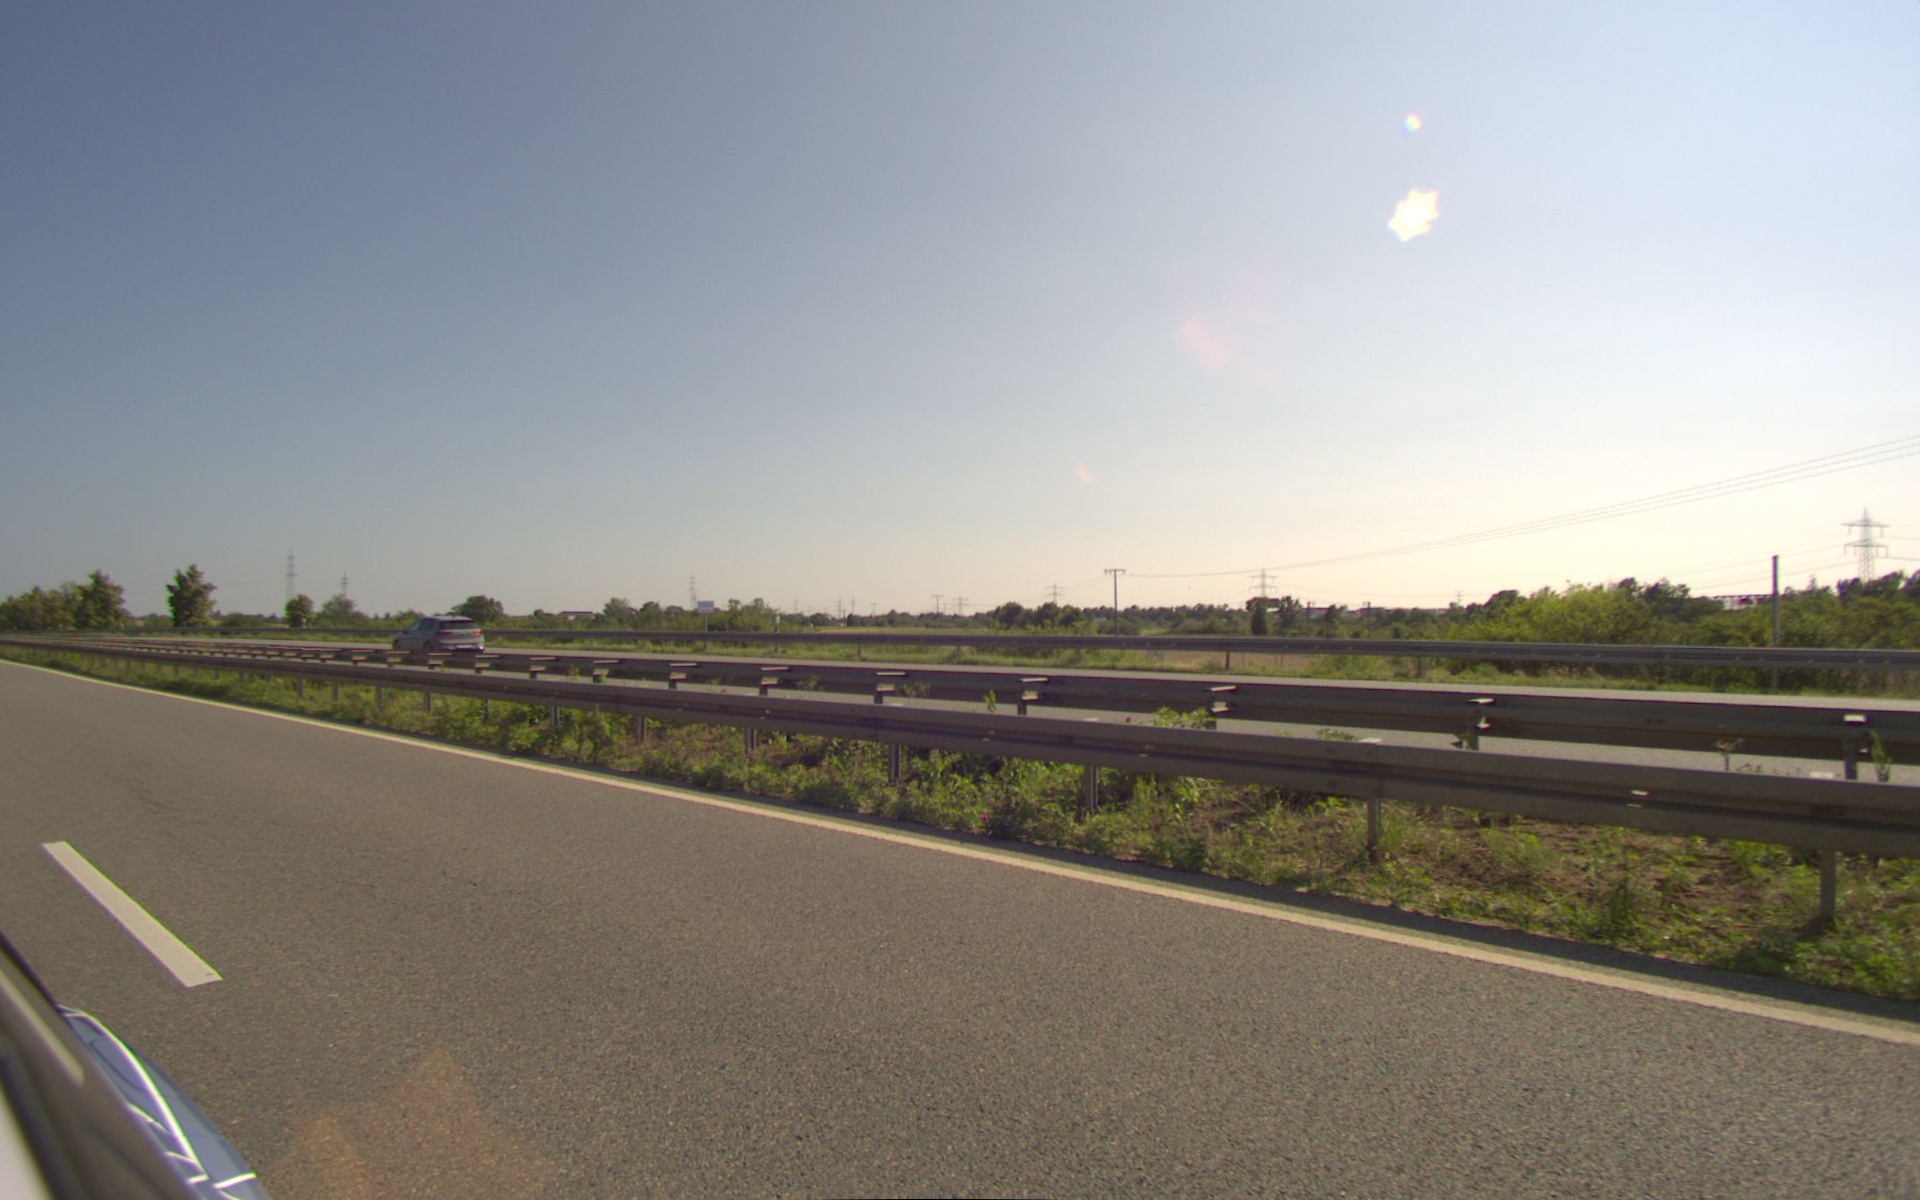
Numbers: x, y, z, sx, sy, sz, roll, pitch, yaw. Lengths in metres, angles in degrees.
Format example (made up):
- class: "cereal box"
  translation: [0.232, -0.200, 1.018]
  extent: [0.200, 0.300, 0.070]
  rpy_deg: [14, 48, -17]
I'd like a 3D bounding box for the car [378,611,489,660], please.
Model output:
- class: "car"
  translation: [-18.140, 1.211, 34.777]
  extent: [4.616, 1.496, 1.683]
  rpy_deg: [-2, 2, 40]
